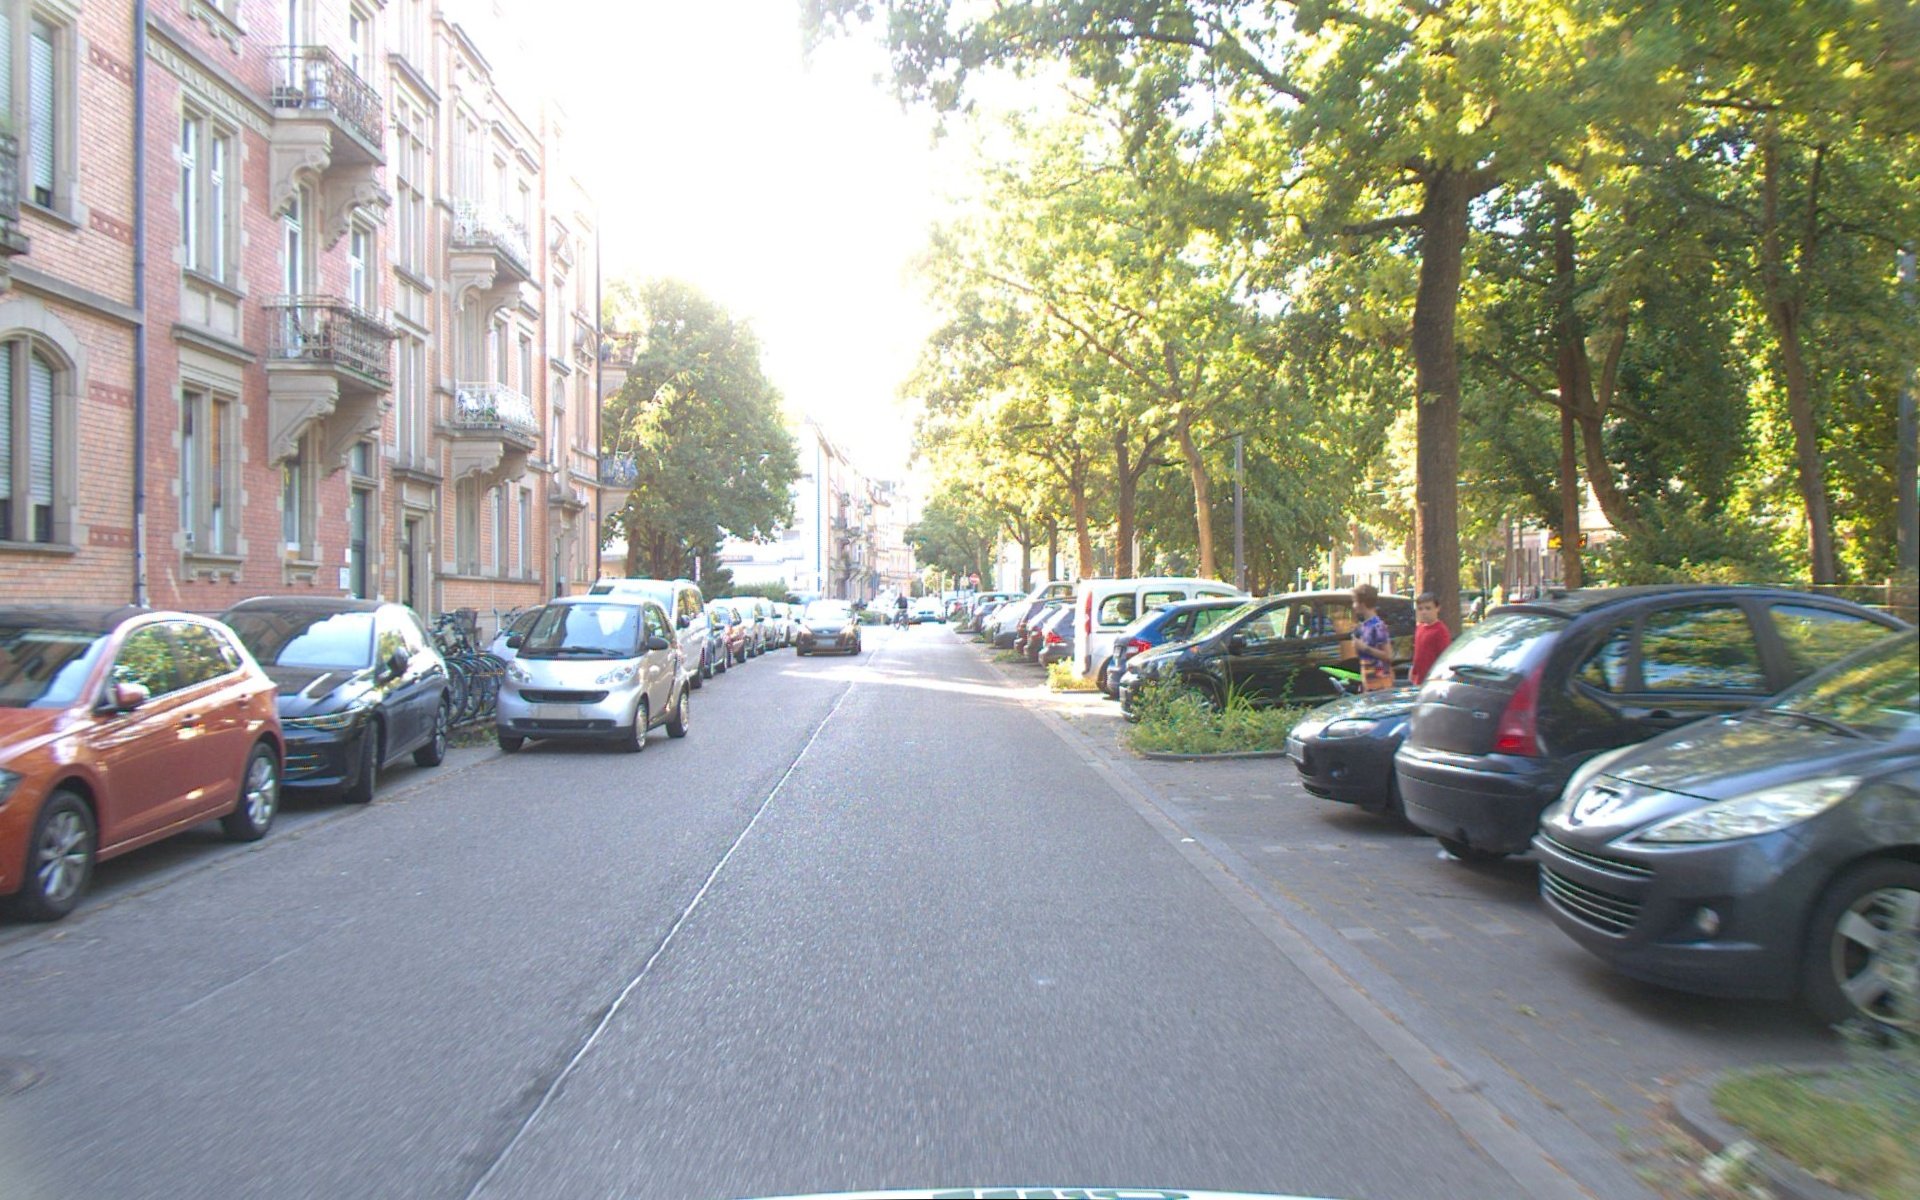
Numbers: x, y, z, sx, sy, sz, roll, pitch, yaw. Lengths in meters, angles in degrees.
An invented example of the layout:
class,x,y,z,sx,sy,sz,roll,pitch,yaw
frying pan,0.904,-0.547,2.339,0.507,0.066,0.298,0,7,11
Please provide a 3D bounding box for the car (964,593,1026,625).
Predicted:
class,x,y,z,sx,sy,sz,roll,pitch,yaw
car,2.344,0.625,110.959,3.902,2.049,2.001,0,-2,10

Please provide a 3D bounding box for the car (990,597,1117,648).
class,x,y,z,sx,sy,sz,roll,pitch,yaw
car,2.990,0.742,53.643,3.908,1.575,1.857,1,-2,-4

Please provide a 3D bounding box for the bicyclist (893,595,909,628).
class,x,y,z,sx,sy,sz,roll,pitch,yaw
bicyclist,-2.878,0.584,81.022,0.617,1.601,0.799,1,-2,-15

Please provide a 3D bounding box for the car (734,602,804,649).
class,x,y,z,sx,sy,sz,roll,pitch,yaw
car,-6.361,0.820,55.504,1.720,1.491,4.268,1,0,1

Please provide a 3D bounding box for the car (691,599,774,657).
class,x,y,z,sx,sy,sz,roll,pitch,yaw
car,-6.128,0.731,44.977,1.669,1.454,3.877,2,0,0

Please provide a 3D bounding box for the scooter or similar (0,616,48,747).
class,x,y,z,sx,sy,sz,roll,pitch,yaw
scooter or similar,-9.492,0.755,15.181,0.767,1.244,2.703,1,-2,-1

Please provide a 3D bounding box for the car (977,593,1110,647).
class,x,y,z,sx,sy,sz,roll,pitch,yaw
car,2.819,0.704,56.256,4.303,1.729,1.857,1,-2,-4

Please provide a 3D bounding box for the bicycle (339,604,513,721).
class,x,y,z,sx,sy,sz,roll,pitch,yaw
bicycle,-5.848,0.684,18.162,1.727,1.236,0.464,1,-2,-2

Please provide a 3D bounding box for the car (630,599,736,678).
class,x,y,z,sx,sy,sz,roll,pitch,yaw
car,-5.684,0.749,34.319,1.636,1.512,3.998,1,0,-2

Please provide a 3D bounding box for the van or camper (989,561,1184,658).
class,x,y,z,sx,sy,sz,roll,pitch,yaw
van or camper,3.295,0.288,43.660,4.882,2.419,2.183,1,-2,-3

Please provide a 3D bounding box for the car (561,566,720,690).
class,x,y,z,sx,sy,sz,roll,pitch,yaw
car,-5.444,0.523,28.803,1.953,1.955,5.037,1,-2,-3

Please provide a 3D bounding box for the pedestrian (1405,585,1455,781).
class,x,y,z,sx,sy,sz,roll,pitch,yaw
pedestrian,3.823,0.657,13.445,0.372,1.543,0.519,0,2,18

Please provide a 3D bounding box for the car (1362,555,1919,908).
class,x,y,z,sx,sy,sz,roll,pitch,yaw
car,4.583,0.604,8.917,4.315,1.619,1.835,-1,-1,-6

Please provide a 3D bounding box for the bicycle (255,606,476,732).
class,x,y,z,sx,sy,sz,roll,pitch,yaw
bicycle,-5.975,0.703,16.726,2.055,1.236,0.439,1,-2,-17

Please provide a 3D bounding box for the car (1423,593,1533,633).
class,x,y,z,sx,sy,sz,roll,pitch,yaw
car,23.194,0.582,74.002,4.603,1.713,2.000,0,-2,21

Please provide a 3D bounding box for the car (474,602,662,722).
class,x,y,z,sx,sy,sz,roll,pitch,yaw
car,-5.359,0.785,23.121,1.640,1.480,4.209,-2,0,-1

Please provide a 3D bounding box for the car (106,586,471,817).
class,x,y,z,sx,sy,sz,roll,pitch,yaw
car,-5.241,0.720,13.507,1.714,1.573,4.145,1,0,-7

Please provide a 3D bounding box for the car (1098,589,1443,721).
class,x,y,z,sx,sy,sz,roll,pitch,yaw
car,3.895,0.673,21.184,4.001,1.468,1.760,-2,0,-4

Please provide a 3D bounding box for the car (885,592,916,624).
class,x,y,z,sx,sy,sz,roll,pitch,yaw
car,-3.822,0.532,105.738,1.953,1.870,3.997,1,-2,-3

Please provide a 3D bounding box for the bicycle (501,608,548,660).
class,x,y,z,sx,sy,sz,roll,pitch,yaw
bicycle,-10.064,0.790,38.249,0.691,1.168,1.888,1,-2,-4

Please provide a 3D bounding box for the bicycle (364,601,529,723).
class,x,y,z,sx,sy,sz,roll,pitch,yaw
bicycle,-5.943,0.715,19.194,1.727,1.371,0.495,1,-2,-2

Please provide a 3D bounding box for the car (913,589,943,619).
class,x,y,z,sx,sy,sz,roll,pitch,yaw
car,-1.919,0.243,100.124,1.742,1.703,4.487,1,0,0

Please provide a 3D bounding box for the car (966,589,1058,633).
class,x,y,z,sx,sy,sz,roll,pitch,yaw
car,2.299,0.503,73.920,3.908,1.825,1.857,1,-2,-4

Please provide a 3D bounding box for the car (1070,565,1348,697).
class,x,y,z,sx,sy,sz,roll,pitch,yaw
car,3.925,0.477,26.543,4.134,1.896,1.761,-2,0,-1

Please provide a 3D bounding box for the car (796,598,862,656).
class,x,y,z,sx,sy,sz,roll,pitch,yaw
car,-3.595,0.728,45.905,1.635,1.489,3.998,-2,0,-2

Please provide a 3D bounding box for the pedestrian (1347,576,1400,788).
class,x,y,z,sx,sy,sz,roll,pitch,yaw
pedestrian,3.241,0.623,12.958,0.372,1.612,0.519,0,2,18

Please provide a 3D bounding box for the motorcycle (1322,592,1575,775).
class,x,y,z,sx,sy,sz,roll,pitch,yaw
motorcycle,4.195,0.713,14.362,1.822,1.488,1.263,1,-2,0

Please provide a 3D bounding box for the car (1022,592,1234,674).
class,x,y,z,sx,sy,sz,roll,pitch,yaw
car,3.396,0.662,34.022,4.134,1.478,1.864,-2,0,-1

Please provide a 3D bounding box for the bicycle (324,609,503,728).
class,x,y,z,sx,sy,sz,roll,pitch,yaw
bicycle,-5.819,0.730,17.646,1.727,1.236,0.441,1,-2,-2

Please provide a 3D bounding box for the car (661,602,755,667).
class,x,y,z,sx,sy,sz,roll,pitch,yaw
car,-5.957,0.789,39.544,1.636,1.454,4.240,1,0,-1

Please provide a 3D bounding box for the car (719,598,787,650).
class,x,y,z,sx,sy,sz,roll,pitch,yaw
car,-6.349,0.713,50.965,1.721,1.542,4.159,1,0,-3

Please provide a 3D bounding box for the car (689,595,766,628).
class,x,y,z,sx,sy,sz,roll,pitch,yaw
car,-12.709,0.629,90.567,3.905,1.736,1.999,1,-2,0

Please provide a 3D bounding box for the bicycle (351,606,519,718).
class,x,y,z,sx,sy,sz,roll,pitch,yaw
bicycle,-5.911,0.699,18.671,1.727,1.236,0.428,1,-2,-2

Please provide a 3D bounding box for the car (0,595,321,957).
class,x,y,z,sx,sy,sz,roll,pitch,yaw
car,-5.055,0.751,9.027,1.719,1.489,3.997,2,0,-3

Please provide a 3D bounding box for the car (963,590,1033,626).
class,x,y,z,sx,sy,sz,roll,pitch,yaw
car,2.306,0.481,99.881,3.902,2.049,2.001,0,-2,10

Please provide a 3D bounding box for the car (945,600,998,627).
class,x,y,z,sx,sy,sz,roll,pitch,yaw
car,0.905,1.051,131.369,3.902,2.049,2.001,0,-2,10

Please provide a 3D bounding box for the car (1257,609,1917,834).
class,x,y,z,sx,sy,sz,roll,pitch,yaw
car,4.051,0.750,11.091,3.766,1.301,1.690,-1,0,-3

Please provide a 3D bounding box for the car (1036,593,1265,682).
class,x,y,z,sx,sy,sz,roll,pitch,yaw
car,3.520,0.693,31.129,4.132,1.478,1.649,-2,0,3

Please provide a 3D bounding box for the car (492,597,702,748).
class,x,y,z,sx,sy,sz,roll,pitch,yaw
car,-3.802,0.719,17.709,1.473,1.460,2.754,-1,0,3

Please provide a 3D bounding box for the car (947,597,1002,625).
class,x,y,z,sx,sy,sz,roll,pitch,yaw
car,1.098,0.840,124.518,3.902,2.049,2.001,0,-2,10

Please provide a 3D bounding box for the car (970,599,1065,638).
class,x,y,z,sx,sy,sz,roll,pitch,yaw
car,2.448,0.816,71.244,3.908,1.591,1.857,1,-2,-4

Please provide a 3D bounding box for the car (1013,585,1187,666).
class,x,y,z,sx,sy,sz,roll,pitch,yaw
car,3.258,0.584,39.095,3.906,1.721,1.859,-2,0,-1

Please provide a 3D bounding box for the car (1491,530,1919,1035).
class,x,y,z,sx,sy,sz,roll,pitch,yaw
car,4.488,0.566,6.313,4.309,1.619,1.837,-1,-1,-1

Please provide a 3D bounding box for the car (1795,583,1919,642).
class,x,y,z,sx,sy,sz,roll,pitch,yaw
car,27.875,0.398,49.916,4.603,1.713,1.999,0,-2,22

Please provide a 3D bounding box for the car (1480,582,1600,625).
class,x,y,z,sx,sy,sz,roll,pitch,yaw
car,23.954,0.160,68.324,4.603,1.713,1.999,0,-2,22

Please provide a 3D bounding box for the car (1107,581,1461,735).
class,x,y,z,sx,sy,sz,roll,pitch,yaw
car,3.565,0.620,18.656,3.599,1.528,1.761,-2,0,-1

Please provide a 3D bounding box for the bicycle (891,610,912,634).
class,x,y,z,sx,sy,sz,roll,pitch,yaw
bicycle,-2.861,1.092,80.916,0.630,1.119,1.936,1,-2,-14
